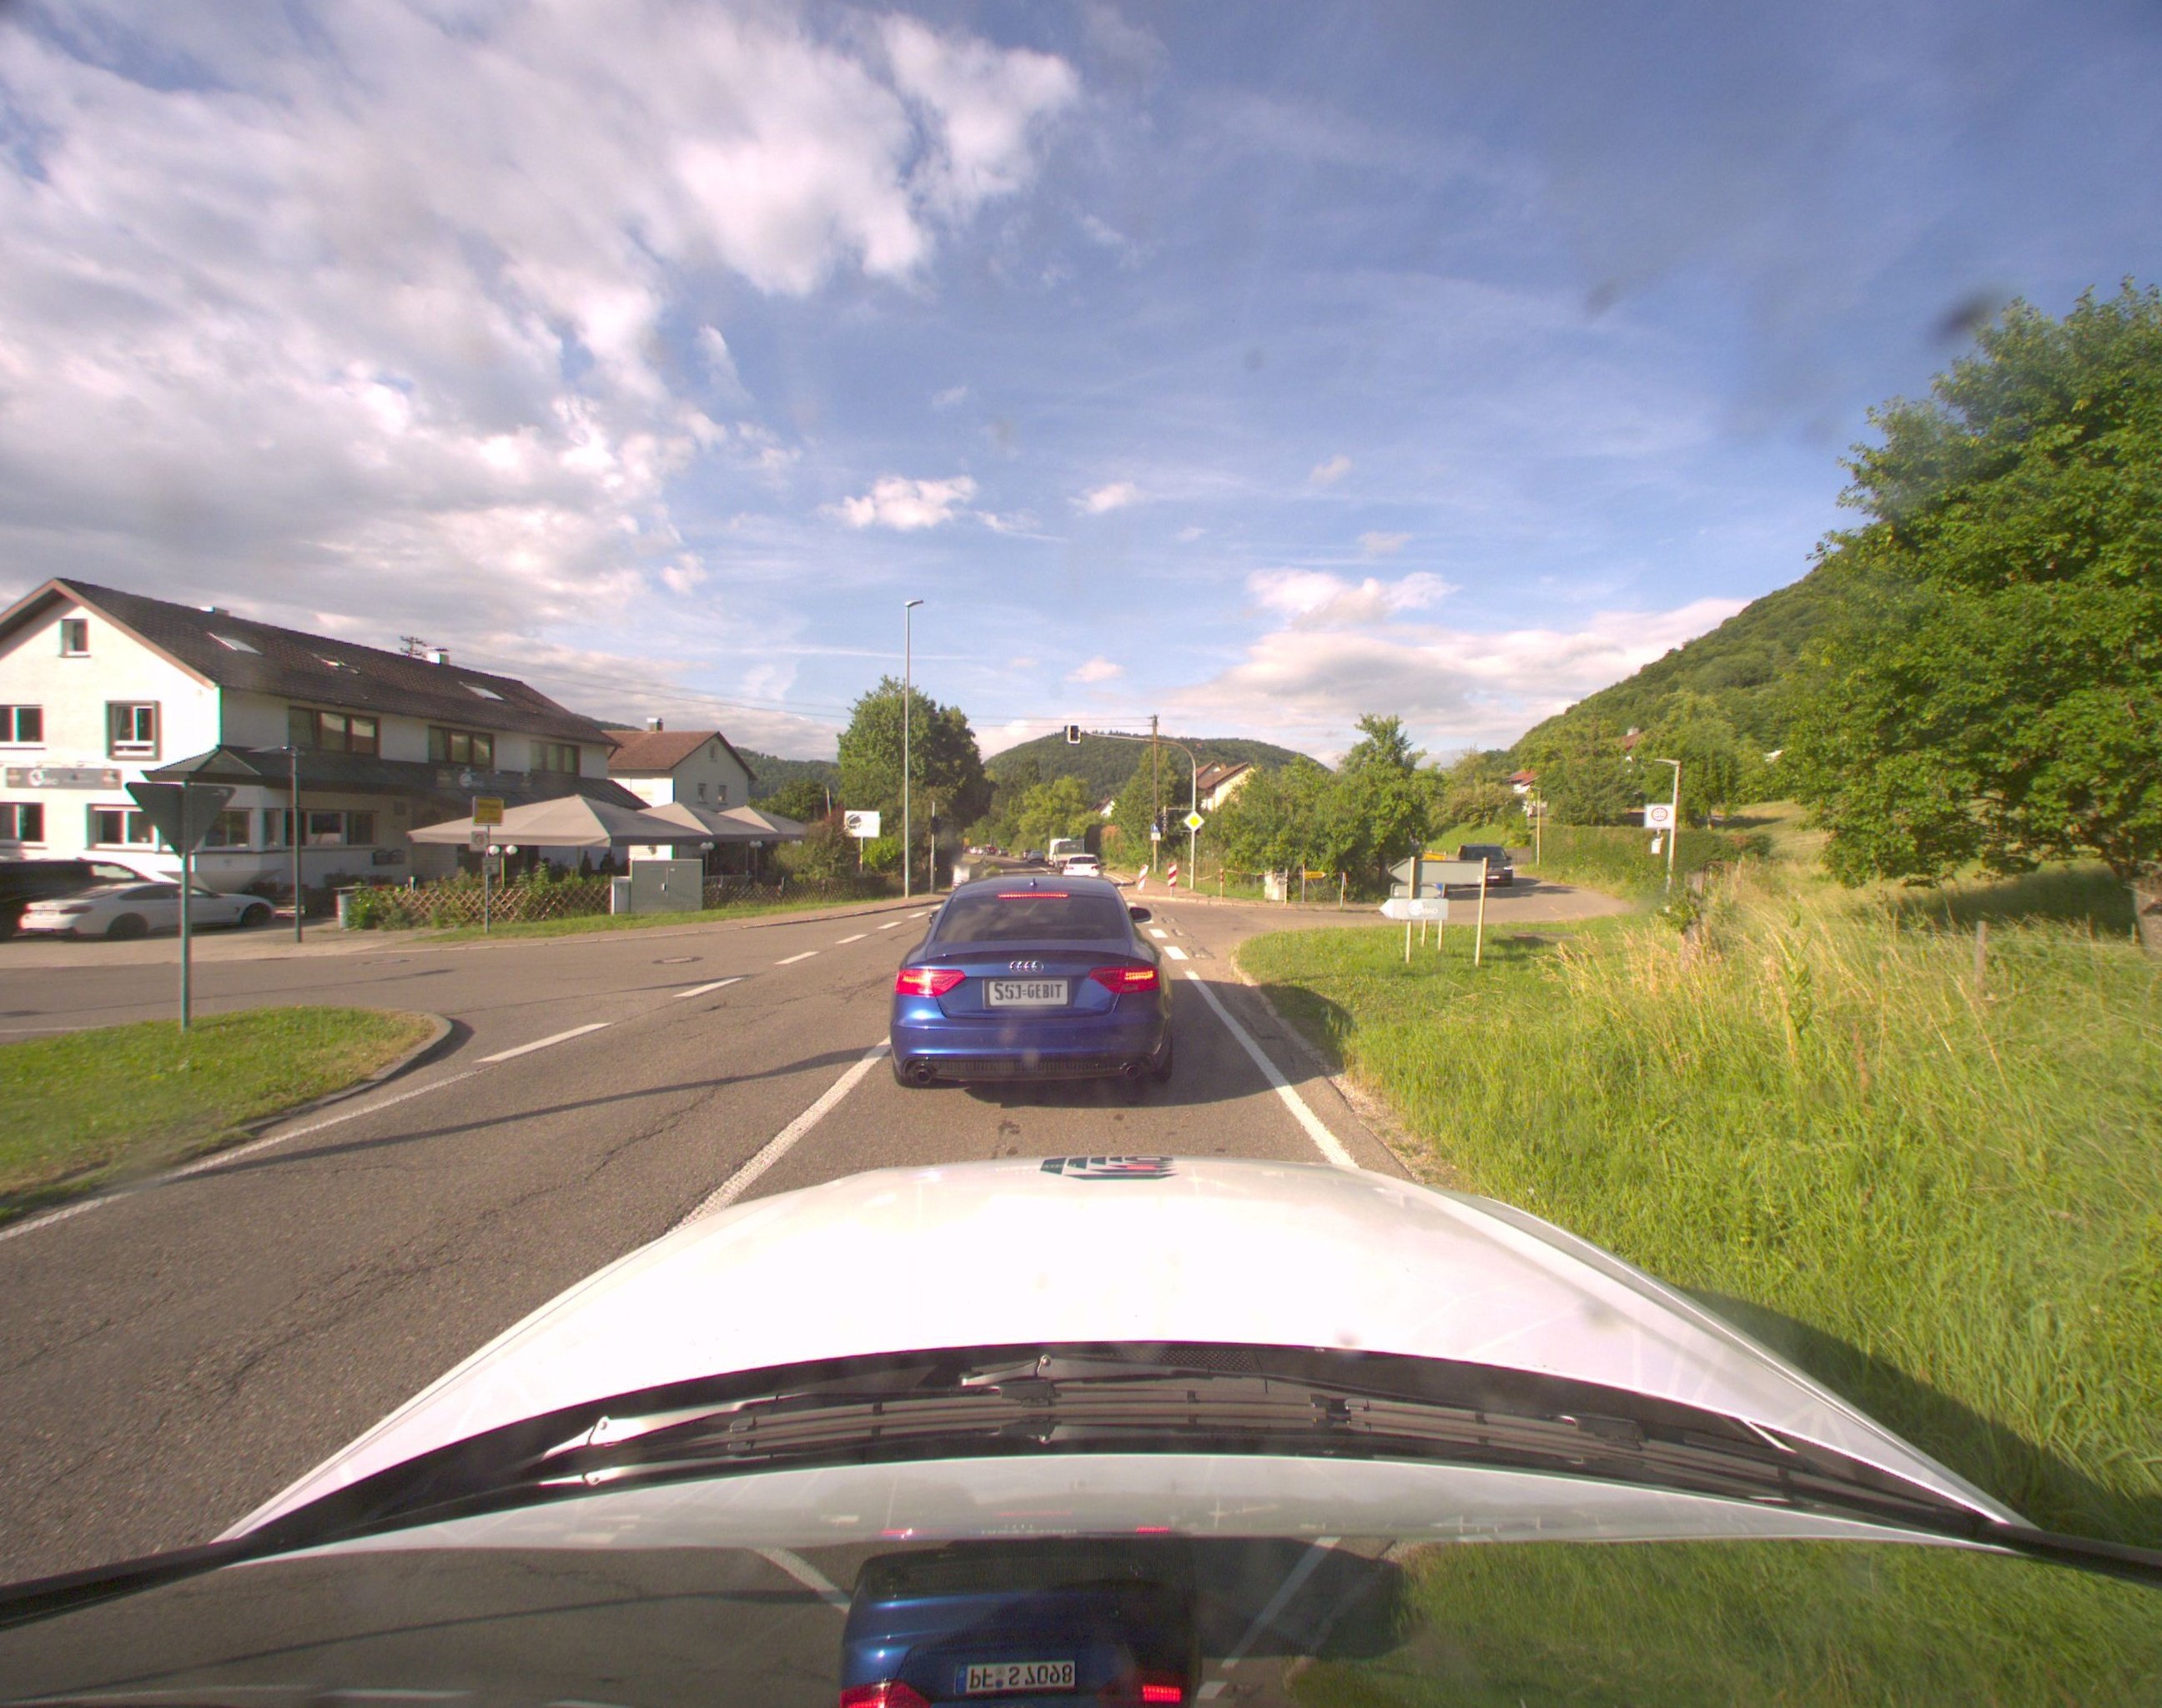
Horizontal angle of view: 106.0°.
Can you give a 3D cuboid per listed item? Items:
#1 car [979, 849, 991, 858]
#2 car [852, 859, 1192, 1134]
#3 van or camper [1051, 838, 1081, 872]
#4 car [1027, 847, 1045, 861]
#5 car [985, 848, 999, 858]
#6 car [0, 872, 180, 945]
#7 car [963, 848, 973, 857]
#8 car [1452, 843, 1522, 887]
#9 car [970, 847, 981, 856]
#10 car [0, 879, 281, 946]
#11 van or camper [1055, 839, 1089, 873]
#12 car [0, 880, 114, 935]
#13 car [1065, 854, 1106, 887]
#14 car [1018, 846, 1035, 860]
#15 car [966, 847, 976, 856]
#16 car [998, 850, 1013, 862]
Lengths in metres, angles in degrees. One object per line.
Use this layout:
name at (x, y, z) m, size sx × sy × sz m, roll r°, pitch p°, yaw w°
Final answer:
car at (-18.562, -0.019, 157.199) m, size 1.944 × 1.684 × 3.982 m, roll -2°, pitch 0°, yaw -13°
car at (-0.312, 0.794, 6.584) m, size 1.824 × 1.409 × 4.226 m, roll -2°, pitch 0°, yaw 0°
van or camper at (-1.462, 0.053, 74.722) m, size 2.410 × 2.904 × 6.122 m, roll -1°, pitch 1°, yaw -4°
car at (-5.368, -0.025, 96.433) m, size 1.818 × 1.552 × 3.989 m, roll -1°, pitch 1°, yaw -8°
car at (-16.187, -0.236, 148.584) m, size 2.043 × 1.684 × 3.982 m, roll -1°, pitch 1°, yaw -13°
car at (-27.336, 1.395, 21.408) m, size 1.984 × 1.685 × 4.582 m, roll -2°, pitch 0°, yaw 5°
car at (-24.798, -0.370, 178.559) m, size 1.774 × 1.783 × 3.982 m, roll -2°, pitch 0°, yaw -13°
car at (18.851, 0.429, 38.060) m, size 1.979 × 1.876 × 4.891 m, roll 1°, pitch 1°, yaw 15°
car at (-21.534, -0.549, 165.967) m, size 1.751 × 1.783 × 3.982 m, roll -2°, pitch 0°, yaw -13°
car at (-24.640, 1.462, 21.641) m, size 1.984 × 1.389 × 4.582 m, roll -2°, pitch 0°, yaw 5°
van or camper at (-0.725, 0.102, 59.896) m, size 2.176 × 2.385 × 5.362 m, roll -1°, pitch 1°, yaw -4°
car at (-30.397, 1.526, 22.363) m, size 1.984 × 1.389 × 4.582 m, roll -2°, pitch 0°, yaw 5°
car at (0.199, 0.704, 37.569) m, size 1.765 × 1.415 × 4.174 m, roll 1°, pitch 0°, yaw 0°
car at (-7.228, -0.105, 108.046) m, size 1.796 × 1.794 × 3.987 m, roll -1°, pitch 0°, yaw -9°
car at (-23.258, -0.461, 172.060) m, size 1.774 × 1.783 × 3.982 m, roll -2°, pitch 0°, yaw -13°
car at (-12.588, 0.346, 135.725) m, size 1.995 × 2.013 × 3.983 m, roll -1°, pitch 0°, yaw -12°
